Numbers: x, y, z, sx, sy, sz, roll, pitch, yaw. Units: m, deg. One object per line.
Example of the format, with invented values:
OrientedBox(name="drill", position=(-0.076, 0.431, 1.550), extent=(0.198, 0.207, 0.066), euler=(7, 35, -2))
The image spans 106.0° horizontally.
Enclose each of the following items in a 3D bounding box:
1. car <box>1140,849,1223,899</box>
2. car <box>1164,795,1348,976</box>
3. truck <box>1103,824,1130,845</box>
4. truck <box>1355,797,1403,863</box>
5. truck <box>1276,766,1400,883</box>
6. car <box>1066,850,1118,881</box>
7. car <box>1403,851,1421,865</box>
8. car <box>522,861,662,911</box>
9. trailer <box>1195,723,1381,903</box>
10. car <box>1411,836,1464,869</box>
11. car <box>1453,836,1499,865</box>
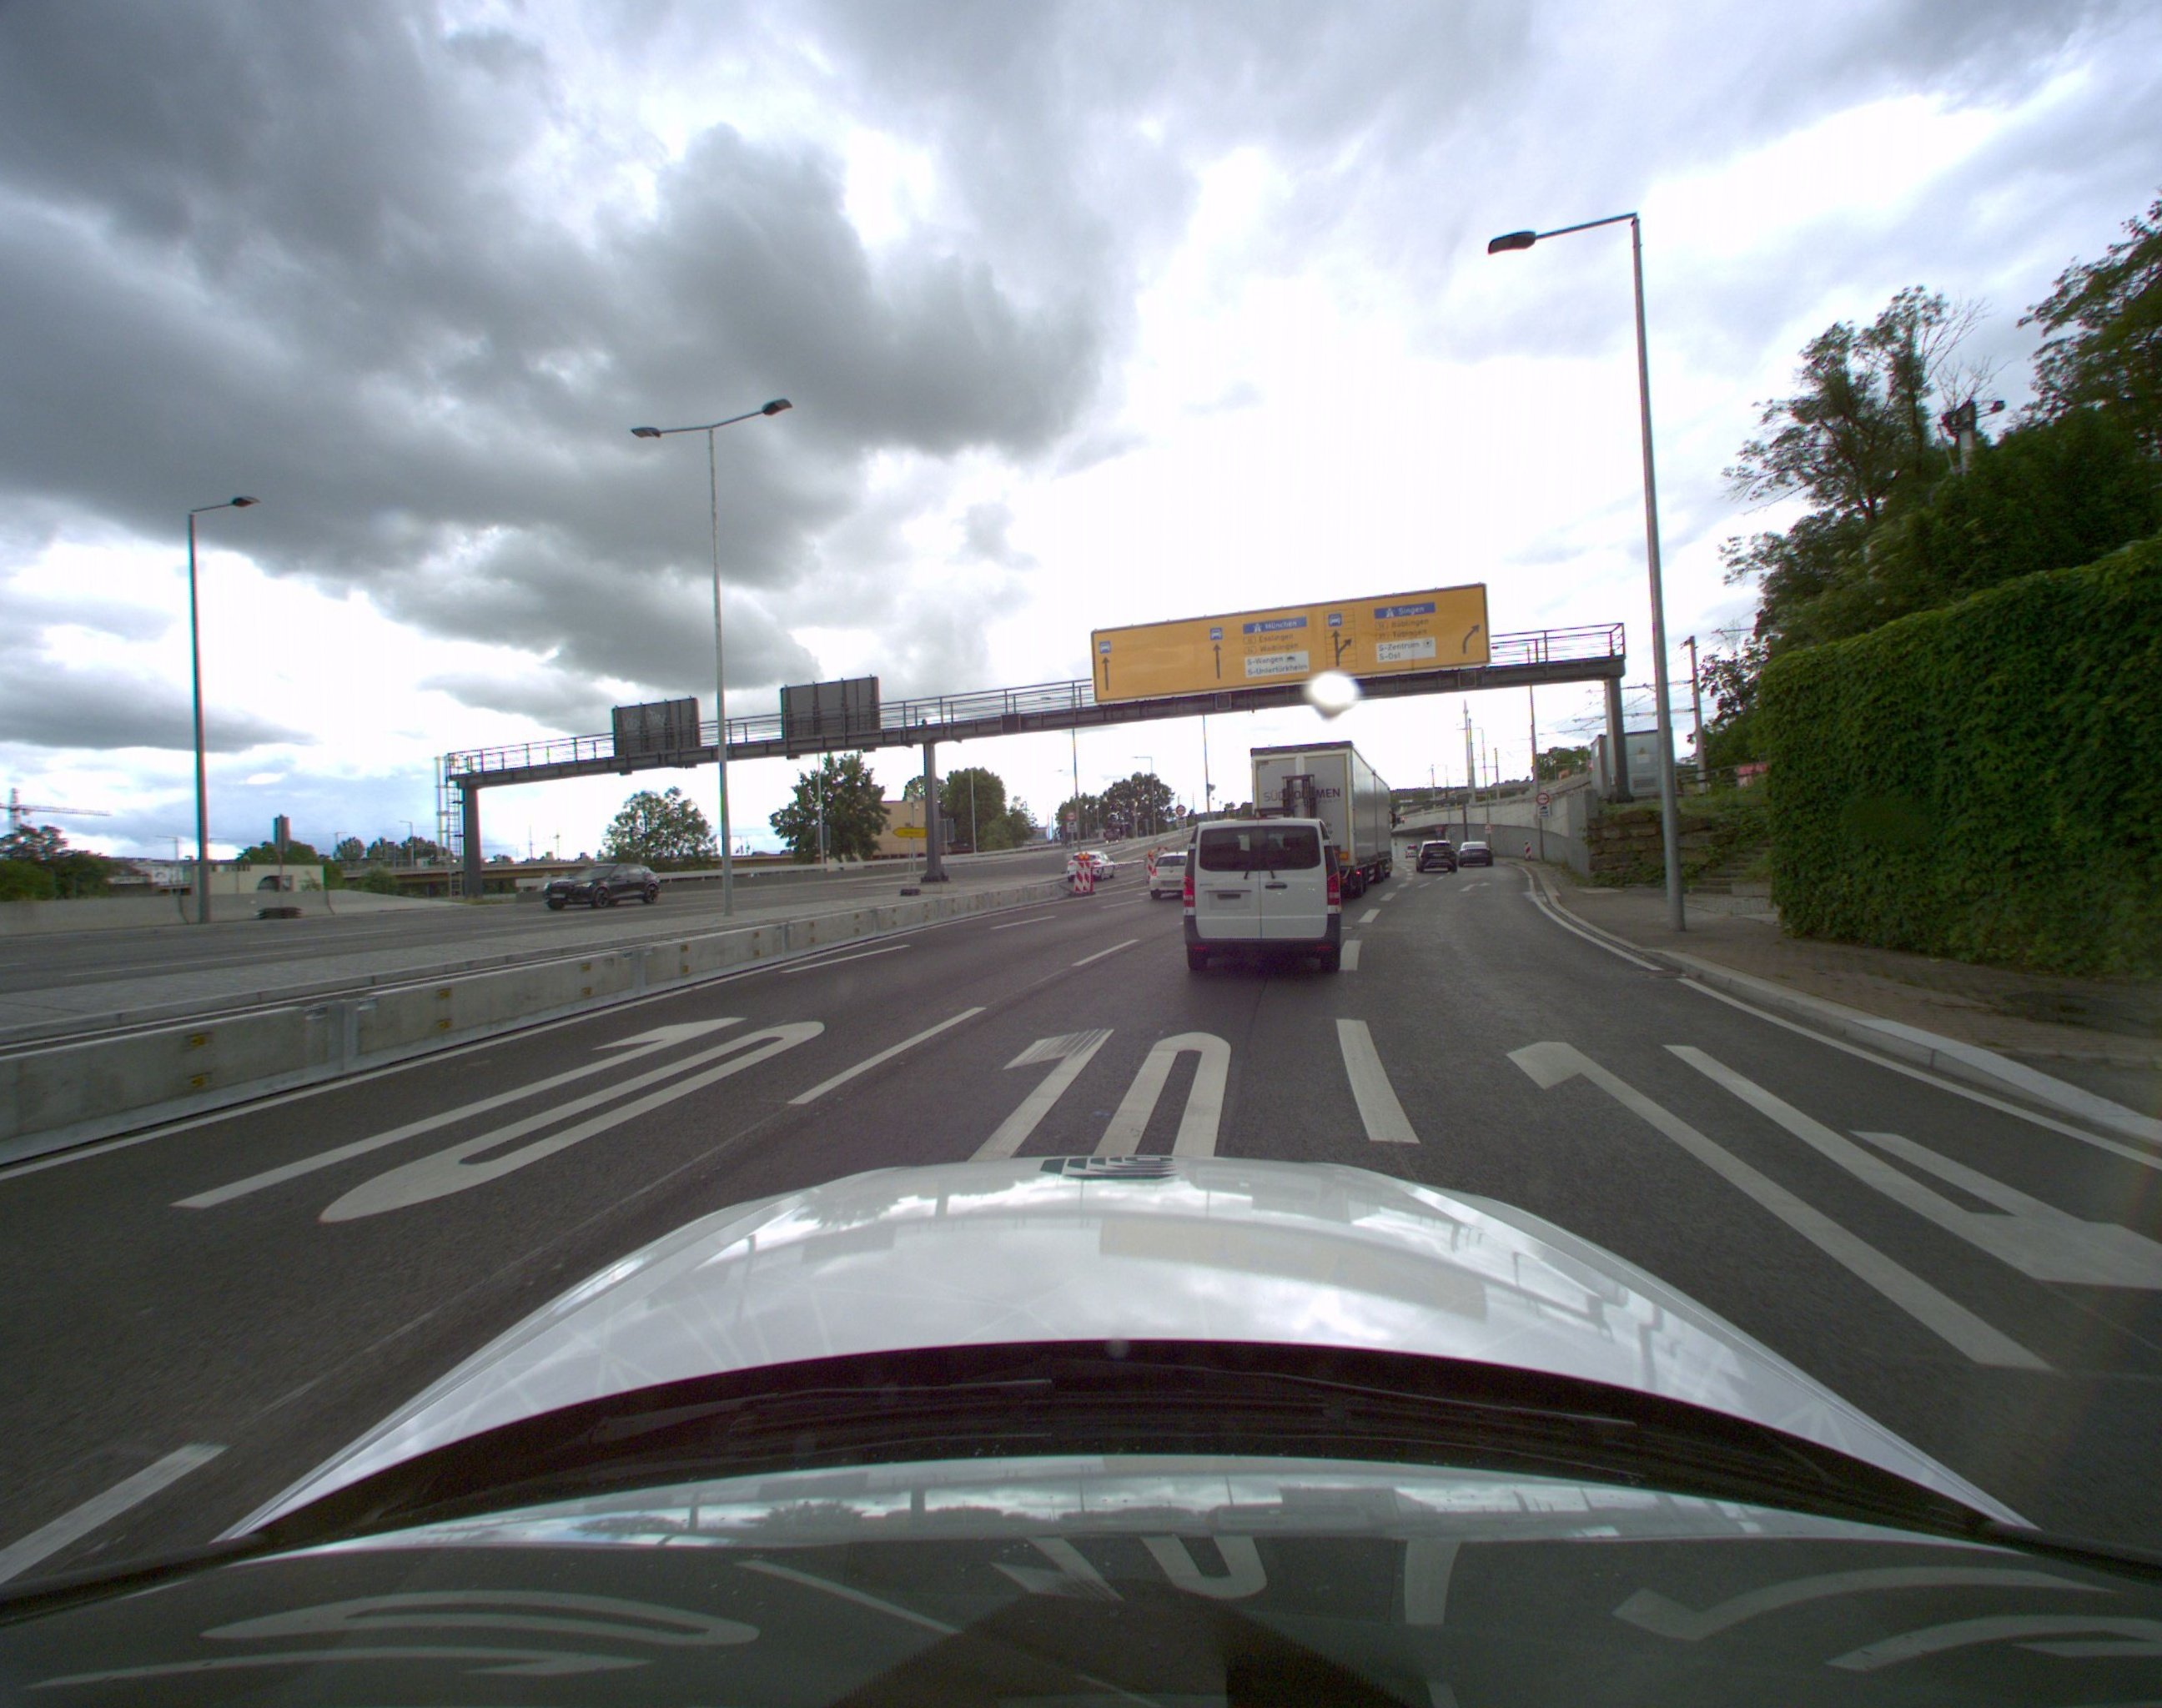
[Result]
OrientedBox(name="car", position=(3.310, 0.597, 26.155), extent=(1.729, 1.432, 4.020), euler=(-2, 0, 20))
OrientedBox(name="car", position=(2.552, 0.373, 11.717), extent=(1.979, 1.990, 5.218), euler=(-1, 0, 13))
OrientedBox(name="truck", position=(6.228, -3.467, 141.647), extent=(2.713, 3.389, 10.661), euler=(0, 3, 14))
OrientedBox(name="truck", position=(23.313, -1.761, 64.070), extent=(3.040, 4.803, 9.198), euler=(1, 0, 17))
OrientedBox(name="truck", position=(11.255, -1.060, 34.689), extent=(3.691, 4.141, 11.045), euler=(-2, 0, 24))
OrientedBox(name="car", position=(0.603, 0.546, 40.407), extent=(1.731, 1.432, 3.790), euler=(1, 0, 14))
OrientedBox(name="car", position=(46.014, 0.535, 113.222), extent=(1.975, 1.849, 4.024), euler=(-1, 0, 28))
OrientedBox(name="car", position=(-16.999, 1.056, 28.583), extent=(1.982, 1.585, 4.145), euler=(1, 0, 8))
OrientedBox(name="trailer", position=(6.746, -0.938, 24.603), extent=(3.691, 4.141, 11.044), euler=(-2, 0, 23))
OrientedBox(name="car", position=(17.831, -0.041, 40.896), extent=(1.878, 1.520, 4.016), euler=(-1, -1, 16))
OrientedBox(name="car", position=(23.096, -0.198, 47.701), extent=(1.877, 1.626, 4.019), euler=(-1, -1, 18))
